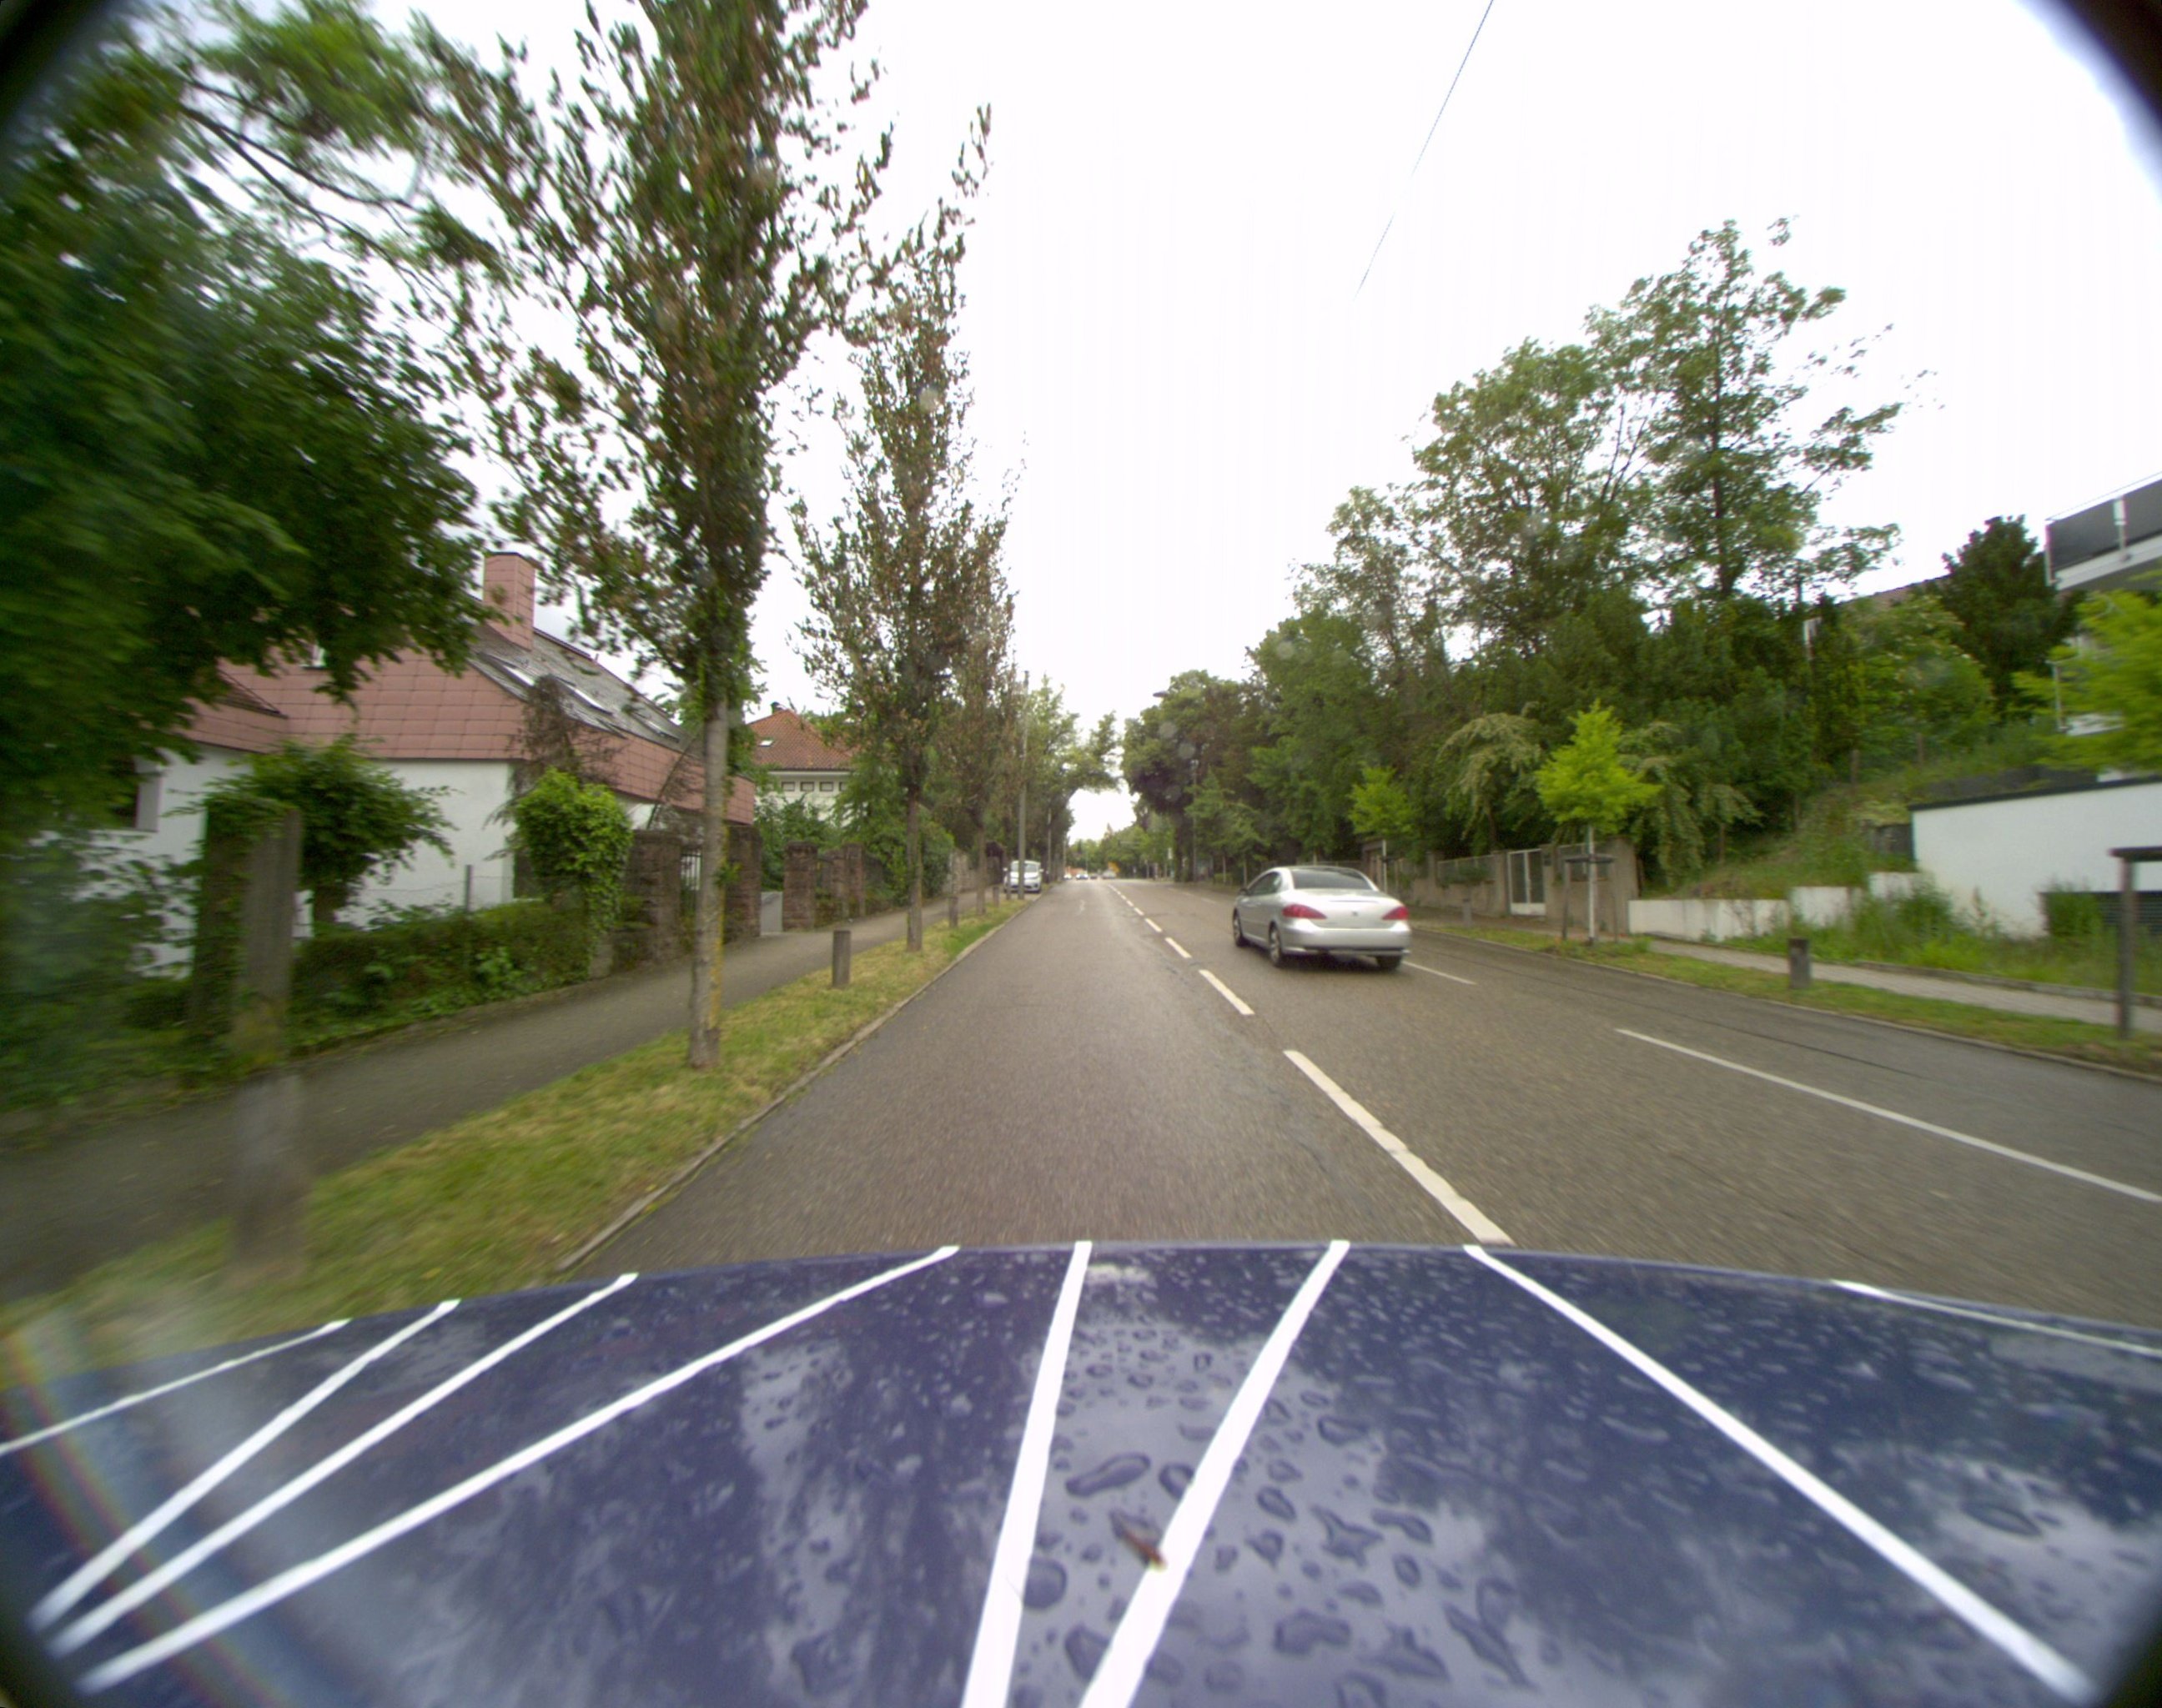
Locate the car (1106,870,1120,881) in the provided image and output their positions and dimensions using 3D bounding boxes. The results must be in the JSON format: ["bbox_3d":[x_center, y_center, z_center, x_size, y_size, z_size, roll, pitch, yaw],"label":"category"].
[{"bbox_3d":[4.630,3.048,109.946,1.798,1.500,4.093,-1,0,0],"label":"car"}]

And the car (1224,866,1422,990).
[{"bbox_3d":[3.438,0.967,11.612,1.766,1.477,4.000,1,0,1],"label":"car"}]

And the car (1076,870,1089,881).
[{"bbox_3d":[0.269,3.668,130.193,1.998,1.673,4.002,-3,-1,3],"label":"car"}]

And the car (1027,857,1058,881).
[{"bbox_3d":[-2.696,1.109,53.770,1.923,1.557,4.221,2,-2,1],"label":"car"}]

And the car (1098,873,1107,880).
[{"bbox_3d":[4.949,5.053,173.463,1.876,1.539,4.001,2,-2,1],"label":"car"}]

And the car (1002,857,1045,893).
[{"bbox_3d":[-2.749,0.995,37.240,1.829,1.620,4.000,2,0,-1],"label":"car"}]
